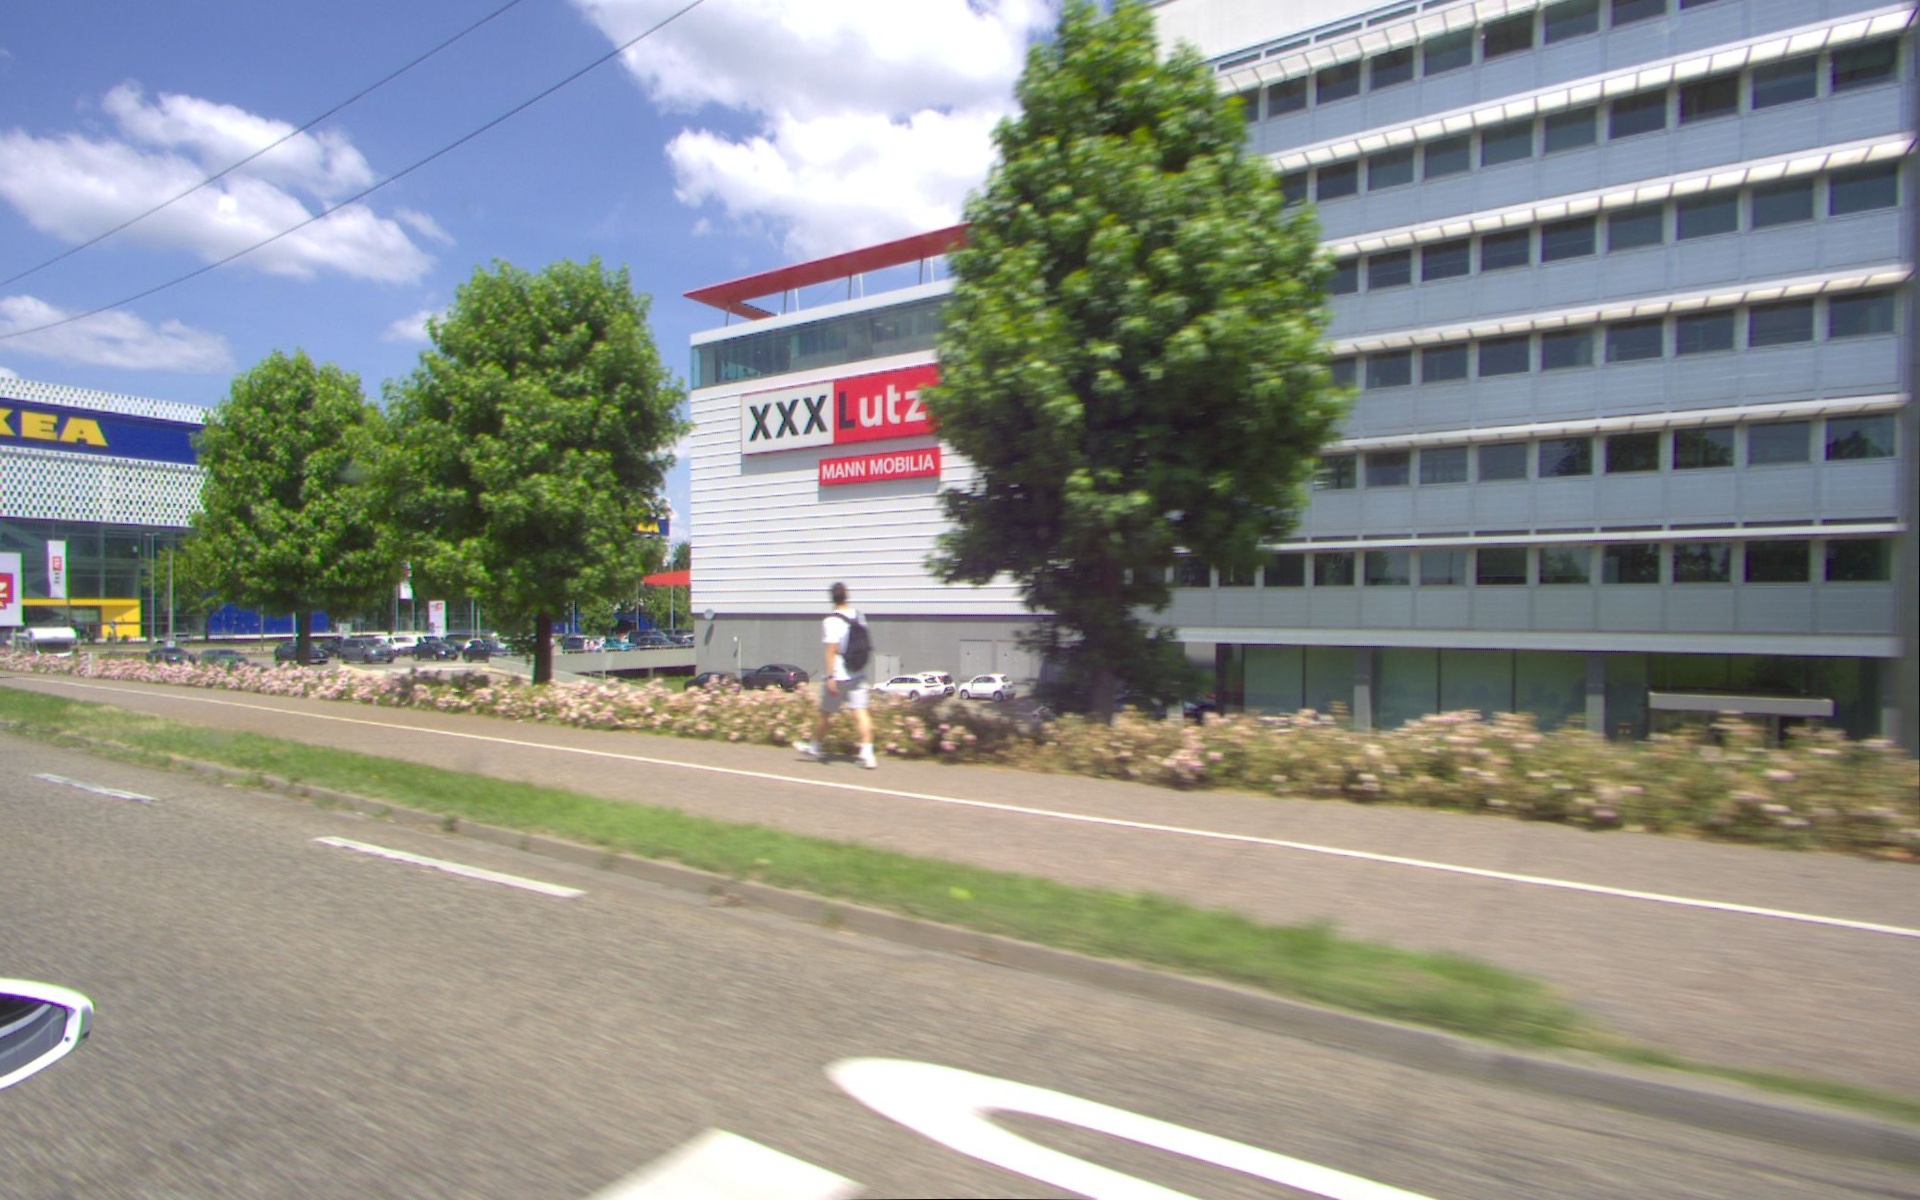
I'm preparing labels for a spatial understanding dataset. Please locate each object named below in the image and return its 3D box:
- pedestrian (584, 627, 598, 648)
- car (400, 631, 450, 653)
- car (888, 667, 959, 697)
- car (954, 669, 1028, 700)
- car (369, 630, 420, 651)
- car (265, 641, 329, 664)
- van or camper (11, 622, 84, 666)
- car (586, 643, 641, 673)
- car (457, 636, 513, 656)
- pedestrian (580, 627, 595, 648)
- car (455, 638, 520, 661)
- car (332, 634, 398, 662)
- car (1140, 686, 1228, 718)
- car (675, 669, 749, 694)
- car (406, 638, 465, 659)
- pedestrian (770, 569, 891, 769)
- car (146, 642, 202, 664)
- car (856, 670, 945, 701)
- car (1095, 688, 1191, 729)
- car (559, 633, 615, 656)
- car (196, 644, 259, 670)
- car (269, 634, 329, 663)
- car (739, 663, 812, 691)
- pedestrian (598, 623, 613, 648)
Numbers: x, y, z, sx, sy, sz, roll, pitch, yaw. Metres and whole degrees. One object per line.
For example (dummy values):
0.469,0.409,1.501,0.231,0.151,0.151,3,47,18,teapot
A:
-28.296,2.873,76.788,0.725,1.577,0.740,0,-2,30,pedestrian
-50.714,3.953,94.882,4.929,2.032,1.991,-1,-2,32,car
-2.263,5.016,61.633,3.942,1.632,1.991,-1,-2,31,car
1.848,4.972,59.226,3.942,1.632,1.991,-1,-2,31,car
-52.267,3.764,92.545,4.929,1.876,1.991,-1,-2,32,car
-47.685,3.777,72.014,4.929,1.570,1.991,-1,-2,32,car
-67.026,3.194,73.521,7.128,3.058,2.500,-1,-2,36,van or camper
-28.468,4.748,82.180,4.270,2.357,1.991,-1,-3,32,car
-40.205,3.854,84.738,4.929,1.631,1.991,-1,-2,32,car
-28.096,2.829,75.544,0.725,1.577,0.740,0,-2,30,pedestrian
-34.879,3.638,73.827,4.929,1.631,1.991,-1,-2,32,car
-45.271,3.638,76.169,5.455,2.039,1.991,-1,-2,32,car
11.066,5.023,49.560,3.942,1.403,1.641,-1,-2,32,car
-15.296,5.006,61.742,4.287,1.416,1.992,-1,-2,30,car
-42.041,3.851,80.202,4.929,1.631,1.991,-1,-2,32,car
-1.284,0.666,9.934,0.918,1.872,0.754,-1,-2,34,pedestrian
-61.231,4.135,77.996,4.701,1.557,1.990,-1,-1,32,car
-3.518,4.997,59.143,5.072,1.632,1.991,-1,-2,32,car
8.483,4.987,46.369,3.942,1.632,1.991,-1,-2,31,car
-29.790,3.533,79.878,4.271,1.803,1.991,-1,-3,32,car
-49.617,3.827,67.821,4.241,1.517,1.989,-1,1,32,car
-50.892,3.702,77.047,4.929,2.040,1.990,-1,0,32,car
-12.027,4.977,65.221,4.523,1.632,1.991,-1,-2,31,car
-26.996,2.696,76.194,0.725,1.893,0.740,0,-2,30,pedestrian
